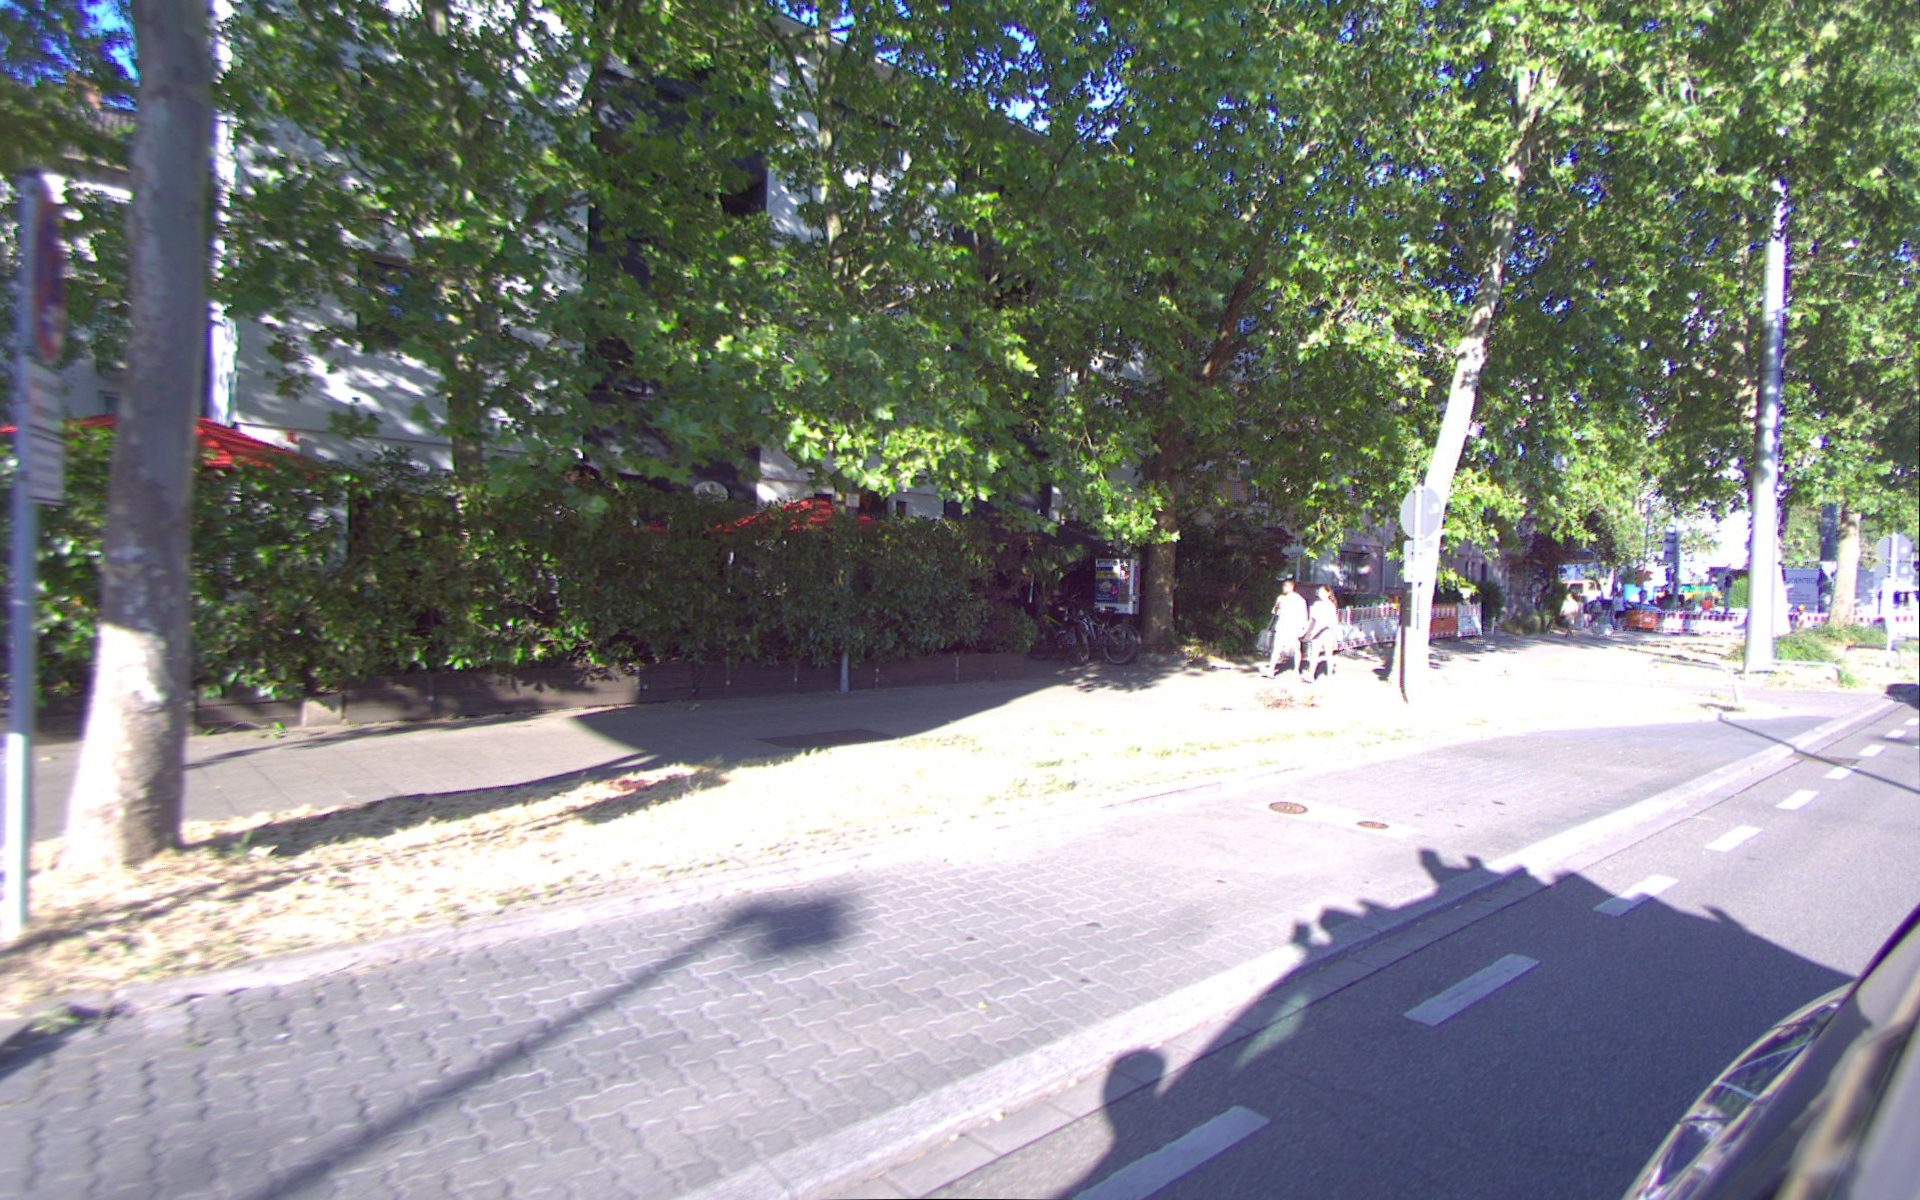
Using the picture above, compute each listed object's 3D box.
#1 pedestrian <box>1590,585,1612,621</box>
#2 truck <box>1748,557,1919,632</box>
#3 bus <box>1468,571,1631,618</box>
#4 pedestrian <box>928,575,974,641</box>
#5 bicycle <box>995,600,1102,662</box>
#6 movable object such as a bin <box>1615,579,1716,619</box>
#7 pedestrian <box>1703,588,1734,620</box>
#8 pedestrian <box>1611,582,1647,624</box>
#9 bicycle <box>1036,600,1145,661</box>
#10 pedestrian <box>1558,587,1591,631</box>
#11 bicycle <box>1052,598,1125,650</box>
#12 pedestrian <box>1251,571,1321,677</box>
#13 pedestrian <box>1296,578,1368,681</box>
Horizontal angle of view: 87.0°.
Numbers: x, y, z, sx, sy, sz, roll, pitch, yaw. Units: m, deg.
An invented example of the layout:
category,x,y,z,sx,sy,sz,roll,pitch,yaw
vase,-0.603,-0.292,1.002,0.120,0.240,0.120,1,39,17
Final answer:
category,x,y,z,sx,sy,sz,roll,pitch,yaw
pedestrian,31.292,0.149,49.424,0.573,1.730,0.680,4,-2,-6
truck,46.476,-0.336,52.683,2.763,3.585,9.000,1,1,-11
bus,52.599,-0.585,90.846,3.035,3.769,12.278,0,1,-42
pedestrian,-0.192,0.172,22.209,0.688,1.398,0.741,1,1,-37
bicycle,1.601,0.542,18.858,0.651,1.037,2.384,1,1,-32
movable object such as a bin,42.553,-0.096,61.221,1.959,2.285,5.217,0,1,-9
pedestrian,43.386,0.205,57.891,0.955,1.820,1.072,1,0,-19
pedestrian,32.066,0.145,48.514,0.826,1.892,1.098,5,2,6
bicycle,2.435,0.540,19.225,0.651,1.037,2.383,0,1,-34
pedestrian,21.257,0.298,35.017,0.803,1.492,0.791,1,1,-44
bicycle,2.711,0.472,21.153,0.647,0.982,1.937,2,2,36
pedestrian,5.433,0.376,16.857,0.803,1.687,0.791,0,1,-44
pedestrian,5.987,0.456,16.268,0.803,1.592,0.791,1,1,-44
